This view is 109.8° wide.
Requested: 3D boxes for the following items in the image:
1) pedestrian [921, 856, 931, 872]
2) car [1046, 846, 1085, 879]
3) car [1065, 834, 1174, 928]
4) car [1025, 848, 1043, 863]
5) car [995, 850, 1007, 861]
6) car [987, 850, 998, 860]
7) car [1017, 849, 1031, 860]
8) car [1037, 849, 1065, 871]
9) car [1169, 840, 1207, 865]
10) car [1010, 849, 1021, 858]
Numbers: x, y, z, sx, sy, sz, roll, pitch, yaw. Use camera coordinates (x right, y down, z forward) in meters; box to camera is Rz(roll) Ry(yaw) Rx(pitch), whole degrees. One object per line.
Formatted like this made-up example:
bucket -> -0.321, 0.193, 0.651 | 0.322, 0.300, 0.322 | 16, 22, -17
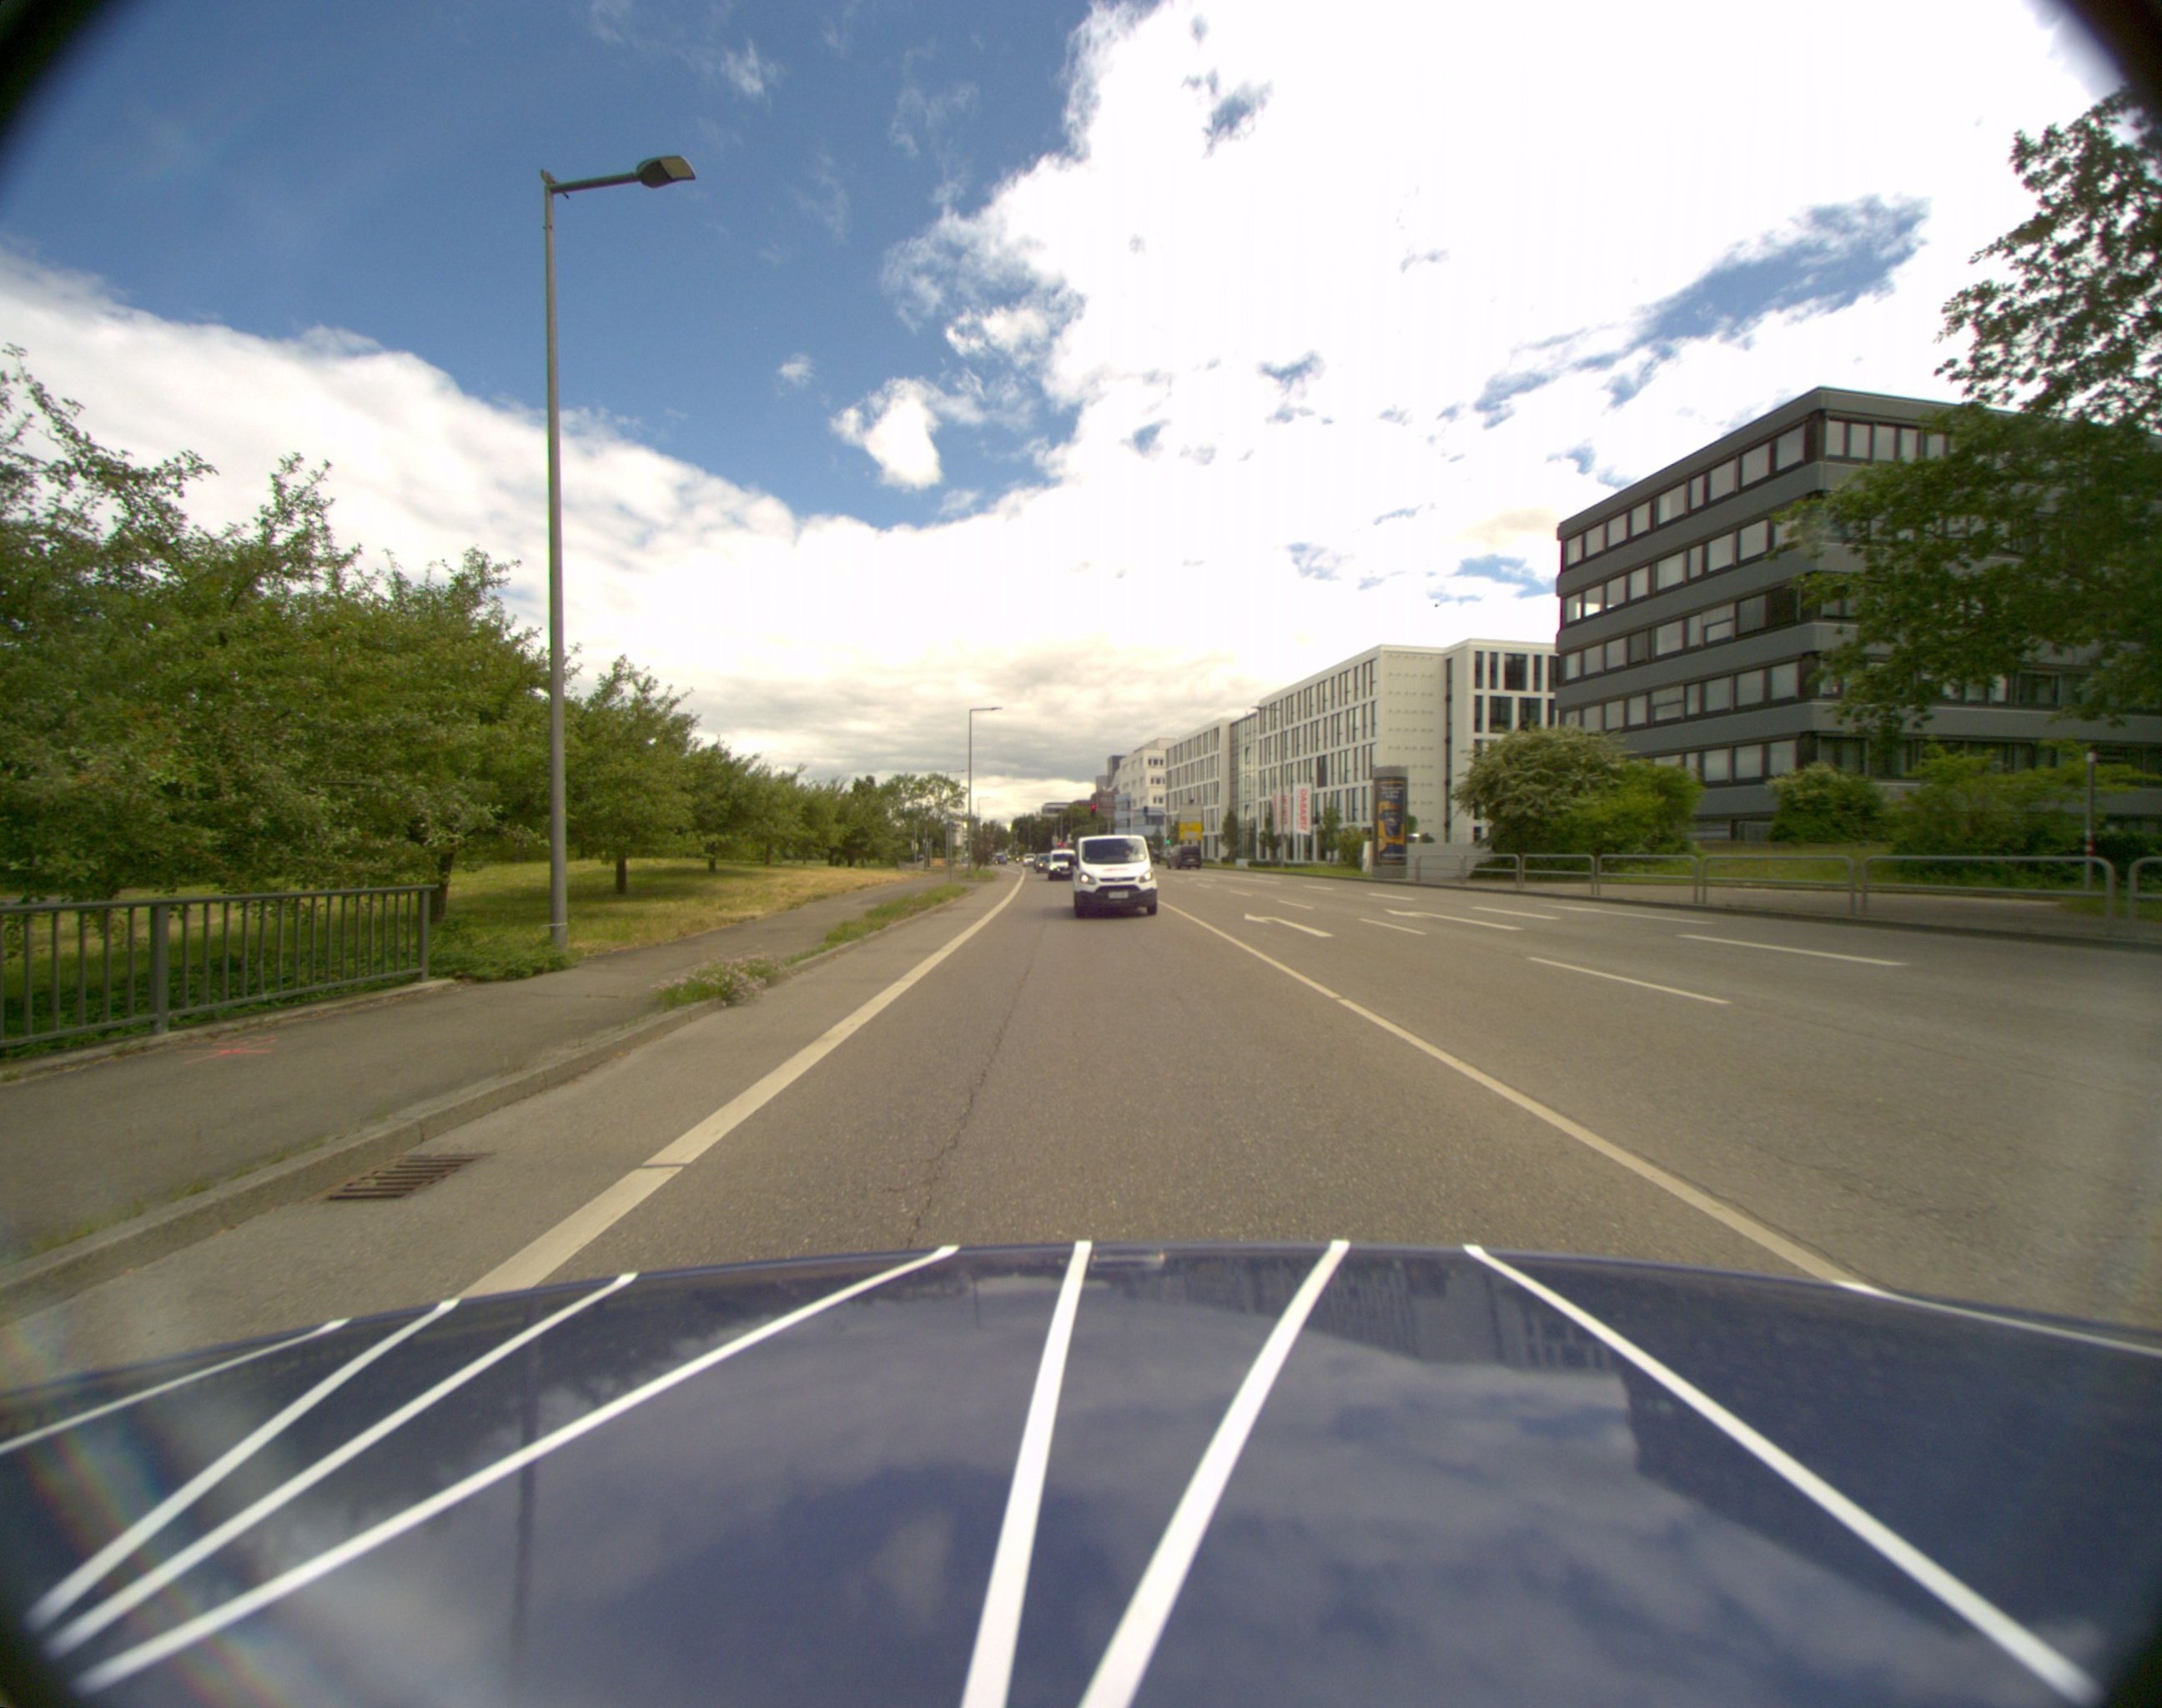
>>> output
pedestrian -> -17.991, 1.129, 88.004 | 0.764, 1.872, 0.802 | -1, 1, 30
car -> -0.965, 0.468, 45.354 | 1.873, 1.836, 4.368 | -2, 1, -7
car -> 0.766, 0.546, 19.401 | 2.122, 1.963, 6.204 | -1, 1, -3
car -> -5.693, 0.144, 91.926 | 1.873, 1.685, 4.368 | -2, 1, -7
car -> -11.635, 0.230, 110.297 | 1.736, 1.432, 4.365 | -2, 1, -7
car -> -14.153, 0.151, 121.234 | 1.736, 1.432, 4.365 | -2, 1, -7
car -> -8.938, 0.031, 119.078 | 1.873, 1.685, 4.368 | -2, 1, -8
car -> -2.517, 0.460, 62.665 | 1.873, 1.685, 4.368 | -2, 1, -7
car -> 8.526, -0.132, 61.052 | 2.024, 1.936, 5.363 | -1, 0, -2
car -> -12.629, -0.070, 146.386 | 1.873, 1.685, 4.368 | -2, 1, -7
